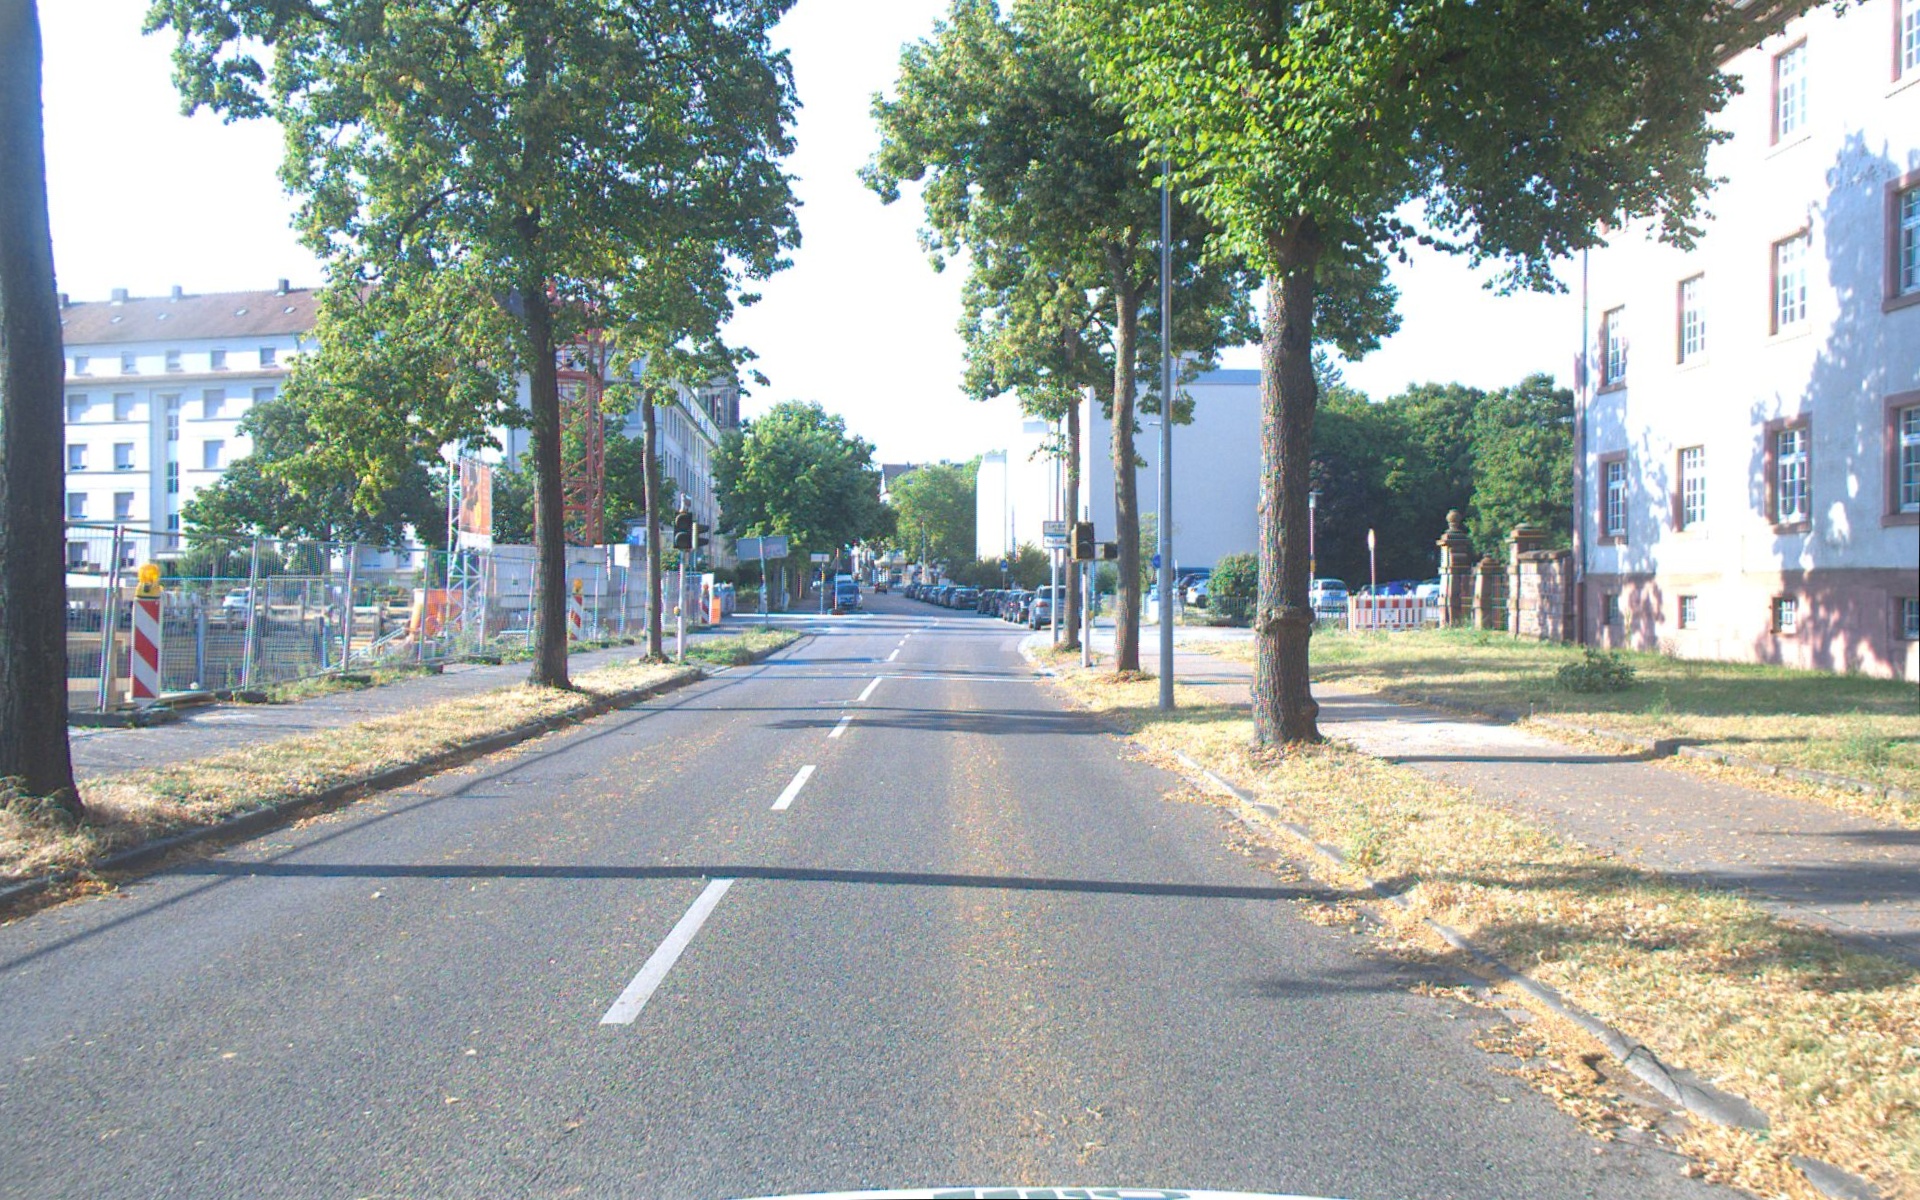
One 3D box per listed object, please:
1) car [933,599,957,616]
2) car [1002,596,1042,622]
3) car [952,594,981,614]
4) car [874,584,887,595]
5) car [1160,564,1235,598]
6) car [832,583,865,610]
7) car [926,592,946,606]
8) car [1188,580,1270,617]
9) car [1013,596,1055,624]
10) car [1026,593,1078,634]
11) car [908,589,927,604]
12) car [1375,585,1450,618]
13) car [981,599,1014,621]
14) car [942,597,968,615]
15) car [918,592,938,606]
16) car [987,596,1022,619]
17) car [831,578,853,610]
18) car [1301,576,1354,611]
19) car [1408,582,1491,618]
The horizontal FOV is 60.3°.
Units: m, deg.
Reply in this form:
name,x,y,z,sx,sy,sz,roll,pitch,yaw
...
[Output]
name,x,y,z,sx,sy,sz,roll,pitch,yaw
car,-1.306,0.667,142.625,1.805,1.410,3.997,-1,0,-4
car,3.147,0.445,84.204,1.804,1.283,3.999,-1,0,-1
car,0.432,0.308,119.723,1.805,1.410,3.997,-1,0,-4
car,-11.219,-1.498,232.867,1.680,1.512,3.996,-1,0,-4
car,13.253,-1.062,92.405,3.905,1.758,1.773,1,0,0
car,-7.219,-0.198,106.742,1.955,1.717,3.994,0,0,-6
car,-2.403,-0.082,163.370,1.805,1.410,3.997,-1,0,-4
car,13.548,-0.047,83.469,3.903,1.713,2.001,2,-1,5
car,3.492,0.463,78.896,1.743,1.248,3.999,-1,0,-1
car,3.730,0.531,67.450,1.804,1.601,3.999,-1,0,-1
car,-4.969,-0.428,192.655,1.807,1.409,3.997,-9,0,-4
car,26.310,0.093,96.233,3.905,1.758,1.773,2,0,0
car,2.285,0.601,101.516,1.804,1.283,3.999,-1,0,-1
car,-0.412,0.477,130.439,1.805,1.410,3.997,-1,0,-4
car,-3.308,-0.099,169.656,1.805,1.410,3.997,-1,0,-4
car,2.534,0.440,94.870,1.804,1.283,3.999,-1,0,-1
car,-12.249,-0.644,171.654,2.143,3.185,4.980,-2,0,-5
car,17.678,-0.296,79.654,1.775,1.587,3.626,2,-1,2
car,26.158,0.004,88.520,3.905,1.758,1.773,2,0,0
